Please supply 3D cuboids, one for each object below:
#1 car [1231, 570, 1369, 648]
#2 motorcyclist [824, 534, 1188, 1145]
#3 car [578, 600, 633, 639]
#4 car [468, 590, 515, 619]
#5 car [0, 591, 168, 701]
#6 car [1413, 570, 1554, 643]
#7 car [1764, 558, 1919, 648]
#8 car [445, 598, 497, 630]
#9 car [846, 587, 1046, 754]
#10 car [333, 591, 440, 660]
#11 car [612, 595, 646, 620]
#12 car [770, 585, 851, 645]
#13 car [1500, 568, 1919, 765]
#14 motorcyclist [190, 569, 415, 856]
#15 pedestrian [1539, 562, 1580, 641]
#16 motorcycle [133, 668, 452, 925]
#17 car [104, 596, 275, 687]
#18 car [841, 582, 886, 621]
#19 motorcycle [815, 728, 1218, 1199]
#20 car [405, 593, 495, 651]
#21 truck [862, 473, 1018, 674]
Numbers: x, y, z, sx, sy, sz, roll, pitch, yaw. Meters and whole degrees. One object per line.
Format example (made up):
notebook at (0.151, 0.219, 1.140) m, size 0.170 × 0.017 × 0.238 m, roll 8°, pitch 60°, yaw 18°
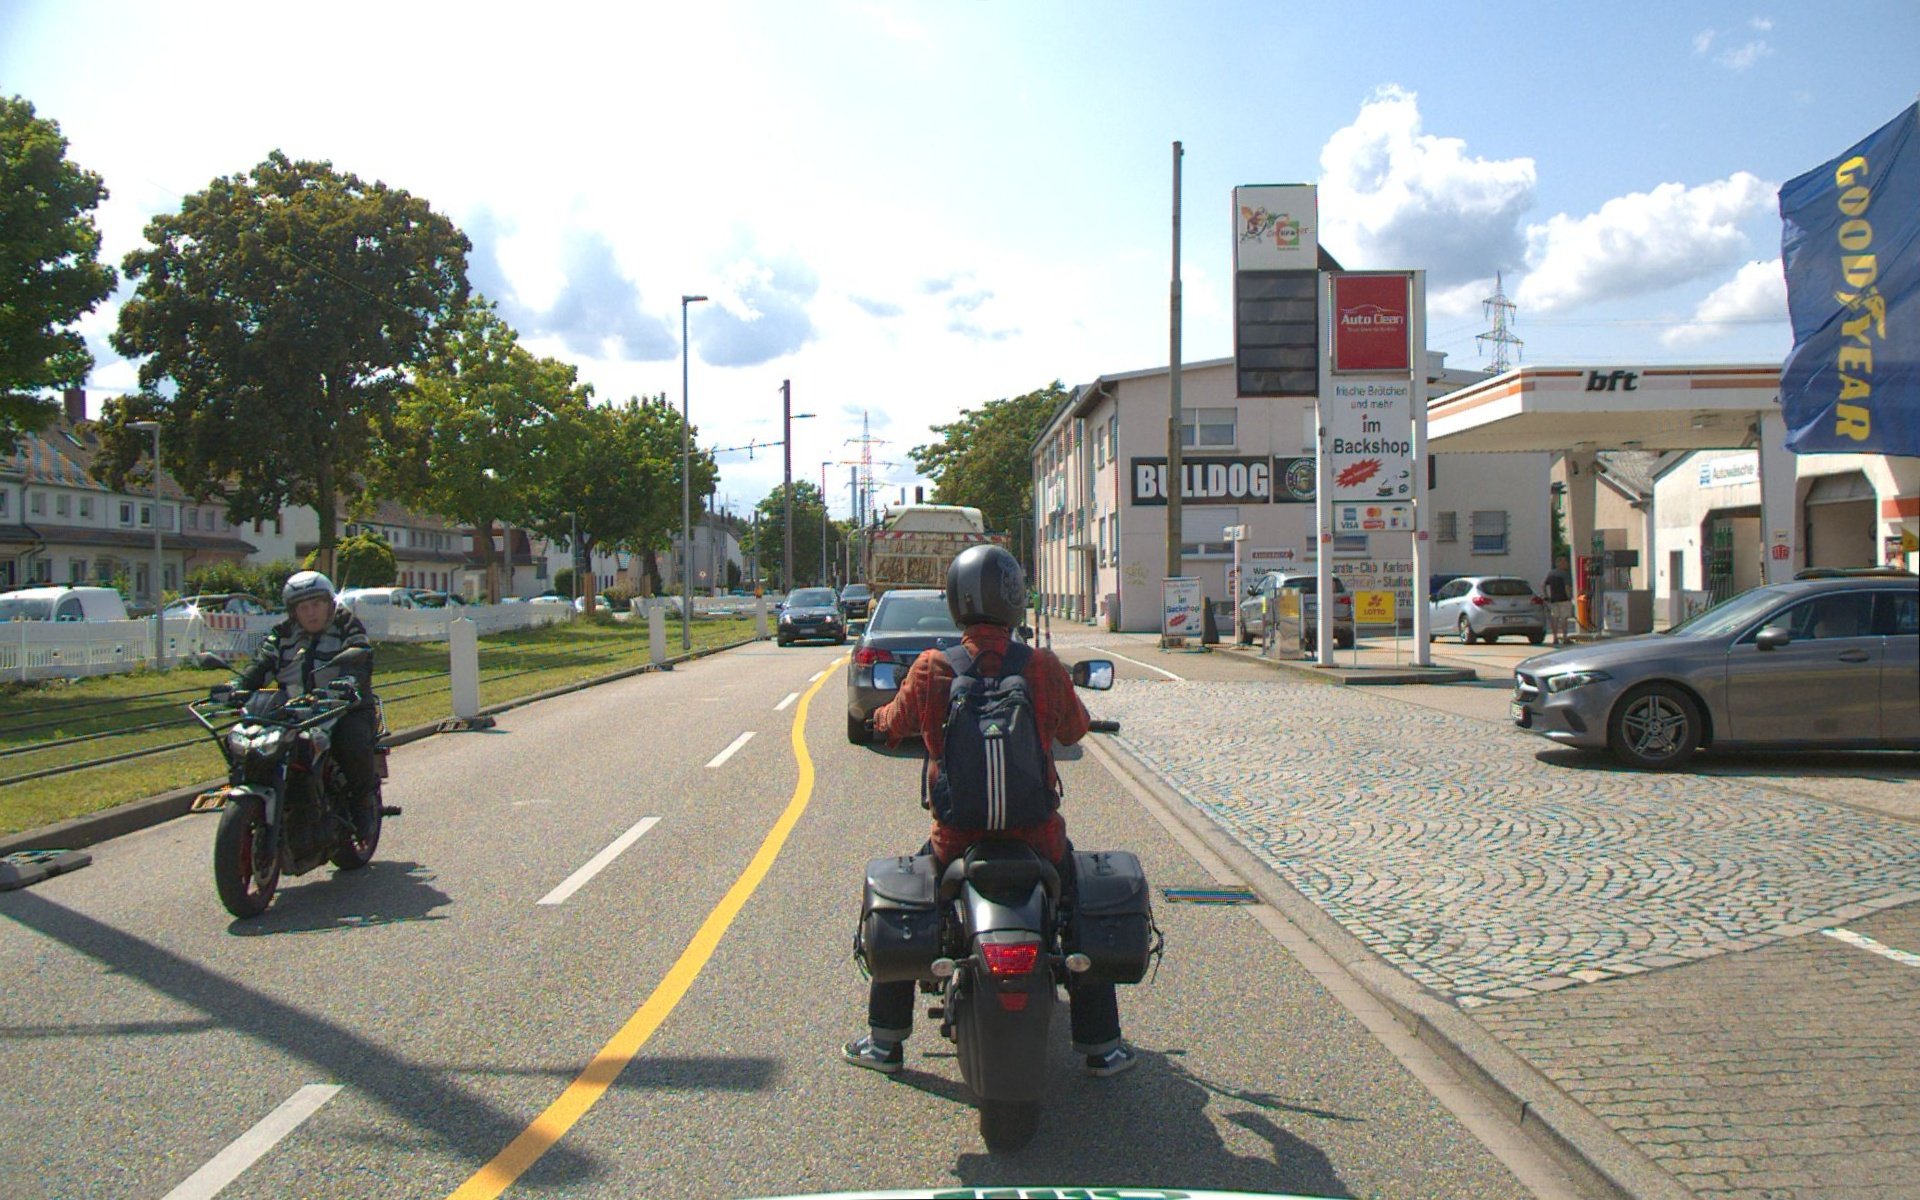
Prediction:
car at (7.454, 0.174, 36.627) m, size 1.636 × 1.589 × 4.236 m, roll -1°, pitch 0°, yaw -8°
motorcyclist at (0.118, 0.640, 5.014) m, size 0.959 × 1.630 × 1.087 m, roll -1°, pitch 0°, yaw -1°
car at (-17.058, 0.906, 79.681) m, size 1.740 × 1.753 × 4.127 m, roll -1°, pitch 0°, yaw -1°
car at (-29.429, 0.271, 103.948) m, size 1.740 × 1.753 × 4.127 m, roll -1°, pitch 0°, yaw -1°
car at (-16.469, 0.781, 30.385) m, size 1.740 × 1.853 × 4.363 m, roll -1°, pitch 0°, yaw -1°
car at (11.718, 0.118, 37.262) m, size 1.770 × 1.529 × 3.831 m, roll -1°, pitch 0°, yaw -3°
car at (16.615, 0.024, 30.317) m, size 1.770 × 1.529 × 3.832 m, roll -1°, pitch 0°, yaw -3°
car at (-28.303, 0.774, 95.831) m, size 1.740 × 1.753 × 4.127 m, roll -1°, pitch 0°, yaw -1°
car at (-0.156, 0.619, 16.961) m, size 1.786 × 1.478 × 3.999 m, roll 1°, pitch 0°, yaw -1°
car at (-16.943, 0.712, 49.078) m, size 1.740 × 1.900 × 4.127 m, roll -1°, pitch 0°, yaw -1°
car at (-24.967, 0.545, 124.848) m, size 1.740 × 1.753 × 4.127 m, roll -1°, pitch 0°, yaw -1°
car at (-3.984, 0.375, 44.629) m, size 1.786 × 1.478 × 4.323 m, roll -2°, pitch 0°, yaw -1°
car at (6.557, 0.487, 13.002) m, size 4.181 × 1.440 × 1.675 m, roll -1°, pitch 0°, yaw 10°
motorcyclist at (-3.383, 0.550, 8.586) m, size 0.851 × 1.402 × 0.800 m, roll -1°, pitch 0°, yaw -4°
pedestrian at (12.950, 0.029, 35.709) m, size 0.696 × 1.685 × 0.546 m, roll -1°, pitch 0°, yaw 35°
motorcycle at (-3.377, 0.937, 8.638) m, size 0.851 × 1.039 × 2.243 m, roll -1°, pitch 0°, yaw -3°
car at (-16.676, 0.852, 36.022) m, size 1.740 × 1.805 × 4.227 m, roll -1°, pitch 0°, yaw -1°
car at (-4.328, 0.048, 74.444) m, size 1.786 × 1.630 × 4.323 m, roll -2°, pitch 0°, yaw -1°
motorcycle at (0.120, 0.994, 5.320) m, size 0.959 × 0.913 × 2.653 m, roll -1°, pitch 0°, yaw -1°
car at (-16.975, 0.696, 55.257) m, size 1.740 × 1.837 × 4.127 m, roll -1°, pitch 0°, yaw -1°
truck at (-0.401, -0.481, 32.010) m, size 2.585 × 3.354 × 8.055 m, roll -1°, pitch 0°, yaw -1°
